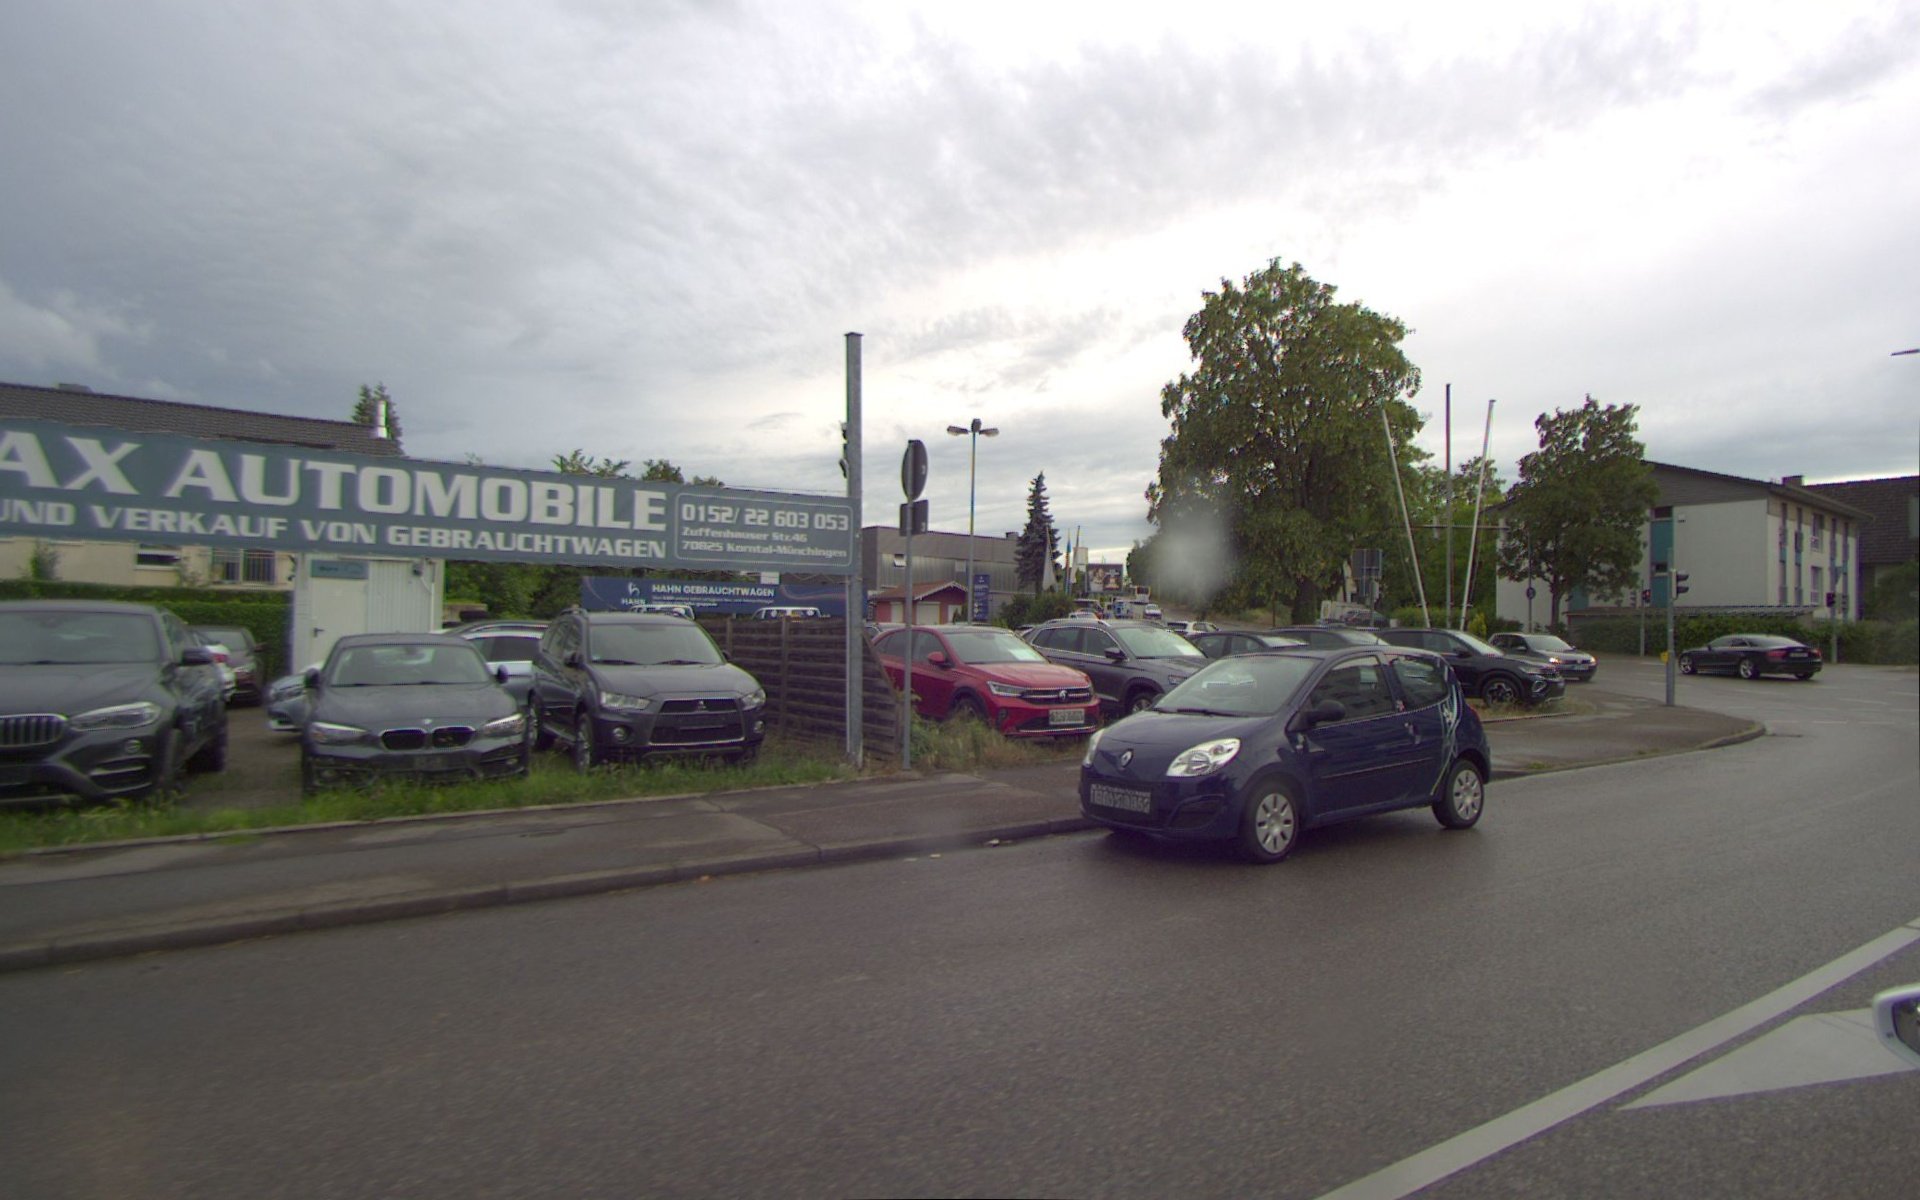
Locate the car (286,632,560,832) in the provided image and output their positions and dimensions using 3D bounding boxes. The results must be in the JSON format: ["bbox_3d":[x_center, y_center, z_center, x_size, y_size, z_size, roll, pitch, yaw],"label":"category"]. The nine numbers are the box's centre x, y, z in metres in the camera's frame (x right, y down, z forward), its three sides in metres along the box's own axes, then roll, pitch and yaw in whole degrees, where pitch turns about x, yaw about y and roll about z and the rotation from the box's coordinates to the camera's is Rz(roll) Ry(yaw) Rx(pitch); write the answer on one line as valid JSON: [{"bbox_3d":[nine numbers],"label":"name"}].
[{"bbox_3d":[-5.431,1.068,9.922,1.938,1.450,4.322,1,-1,-33],"label":"car"}]

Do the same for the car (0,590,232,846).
[{"bbox_3d":[-7.595,0.821,8.521,2.037,1.714,4.322,1,-1,-33],"label":"car"}]

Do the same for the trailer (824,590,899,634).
[{"bbox_3d":[-6.608,0.810,67.062,2.598,2.800,4.967,1,-1,-40],"label":"trailer"}]

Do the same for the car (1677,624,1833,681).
[{"bbox_3d":[25.122,1.612,31.928,1.960,1.595,4.001,0,0,4],"label":"car"}]

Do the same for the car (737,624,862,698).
[{"bbox_3d":[-3.715,1.319,22.835,1.574,1.447,3.613,0,0,-31],"label":"car"}]

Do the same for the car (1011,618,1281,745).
[{"bbox_3d":[2.603,1.077,14.943,1.783,1.564,3.966,1,0,-31],"label":"car"}]

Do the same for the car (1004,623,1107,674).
[{"bbox_3d":[3.421,1.658,35.465,1.687,1.576,3.981,0,0,39],"label":"car"}]

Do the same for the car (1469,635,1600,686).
[{"bbox_3d":[18.796,1.934,33.081,1.697,1.475,3.997,-2,-1,-6],"label":"car"}]

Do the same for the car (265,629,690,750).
[{"bbox_3d":[-6.653,1.148,14.205,5.164,1.439,1.887,1,-2,-34],"label":"car"}]

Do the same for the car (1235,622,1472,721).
[{"bbox_3d":[7.270,1.240,18.904,1.673,1.551,3.922,0,0,-33],"label":"car"}]

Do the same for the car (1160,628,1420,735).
[{"bbox_3d":[5.377,1.251,16.850,1.783,1.460,3.966,1,0,-31],"label":"car"}]

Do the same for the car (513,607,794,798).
[{"bbox_3d":[-3.647,0.969,11.374,1.938,1.713,4.322,1,-1,-33],"label":"car"}]

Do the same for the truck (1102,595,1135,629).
[{"bbox_3d":[12.550,0.898,79.773,1.960,2.573,5.560,1,0,3],"label":"truck"}]

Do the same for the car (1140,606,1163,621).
[{"bbox_3d":[19.628,1.386,103.107,1.561,1.423,3.706,0,0,-3],"label":"car"}]

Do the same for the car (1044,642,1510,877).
[{"bbox_3d":[2.601,1.076,8.020,3.644,1.452,1.617,1,-2,-33],"label":"car"}]

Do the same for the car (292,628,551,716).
[{"bbox_3d":[-9.612,1.226,18.054,3.959,1.416,1.681,1,-2,-34],"label":"car"}]

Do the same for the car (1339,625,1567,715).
[{"bbox_3d":[10.018,1.348,20.597,1.611,1.551,3.907,0,0,-44],"label":"car"}]

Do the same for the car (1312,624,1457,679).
[{"bbox_3d":[13.596,1.638,32.332,3.920,1.576,1.757,-1,0,2],"label":"car"}]

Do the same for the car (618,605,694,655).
[{"bbox_3d":[-13.051,1.236,43.028,1.708,2.000,4.146,0,0,-39],"label":"car"}]

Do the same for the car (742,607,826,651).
[{"bbox_3d":[-8.323,1.307,47.257,1.983,1.895,4.400,0,0,-39],"label":"car"}]

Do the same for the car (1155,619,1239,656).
[{"bbox_3d":[11.452,1.810,48.499,3.961,1.541,1.743,4,-2,-35],"label":"car"}]

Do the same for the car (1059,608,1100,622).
[{"bbox_3d":[12.253,1.554,103.420,3.924,1.394,1.813,1,-1,-5],"label":"car"}]

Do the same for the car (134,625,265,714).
[{"bbox_3d":[-13.951,1.181,18.448,1.729,1.433,3.904,1,-2,-38],"label":"car"}]

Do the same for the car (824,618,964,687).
[{"bbox_3d":[-1.657,1.189,24.102,1.578,1.447,3.603,0,0,-39],"label":"car"}]

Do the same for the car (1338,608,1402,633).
[{"bbox_3d":[30.063,1.484,73.796,3.920,1.746,2.001,0,0,3],"label":"car"}]

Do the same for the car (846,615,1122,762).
[{"bbox_3d":[0.150,1.009,13.187,1.783,1.564,3.966,1,0,-31],"label":"car"}]

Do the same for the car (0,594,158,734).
[{"bbox_3d":[-11.780,0.722,11.439,3.959,1.550,1.681,1,-2,-34],"label":"car"}]

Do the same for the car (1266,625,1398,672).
[{"bbox_3d":[12.875,1.671,34.928,3.922,1.530,1.756,0,0,-2],"label":"car"}]

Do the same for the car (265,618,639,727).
[{"bbox_3d":[-8.064,1.091,16.253,5.164,1.521,1.887,1,-2,-34],"label":"car"}]

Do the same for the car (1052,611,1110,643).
[{"bbox_3d":[8.223,1.817,68.363,1.976,2.021,3.969,0,0,-29],"label":"car"}]
